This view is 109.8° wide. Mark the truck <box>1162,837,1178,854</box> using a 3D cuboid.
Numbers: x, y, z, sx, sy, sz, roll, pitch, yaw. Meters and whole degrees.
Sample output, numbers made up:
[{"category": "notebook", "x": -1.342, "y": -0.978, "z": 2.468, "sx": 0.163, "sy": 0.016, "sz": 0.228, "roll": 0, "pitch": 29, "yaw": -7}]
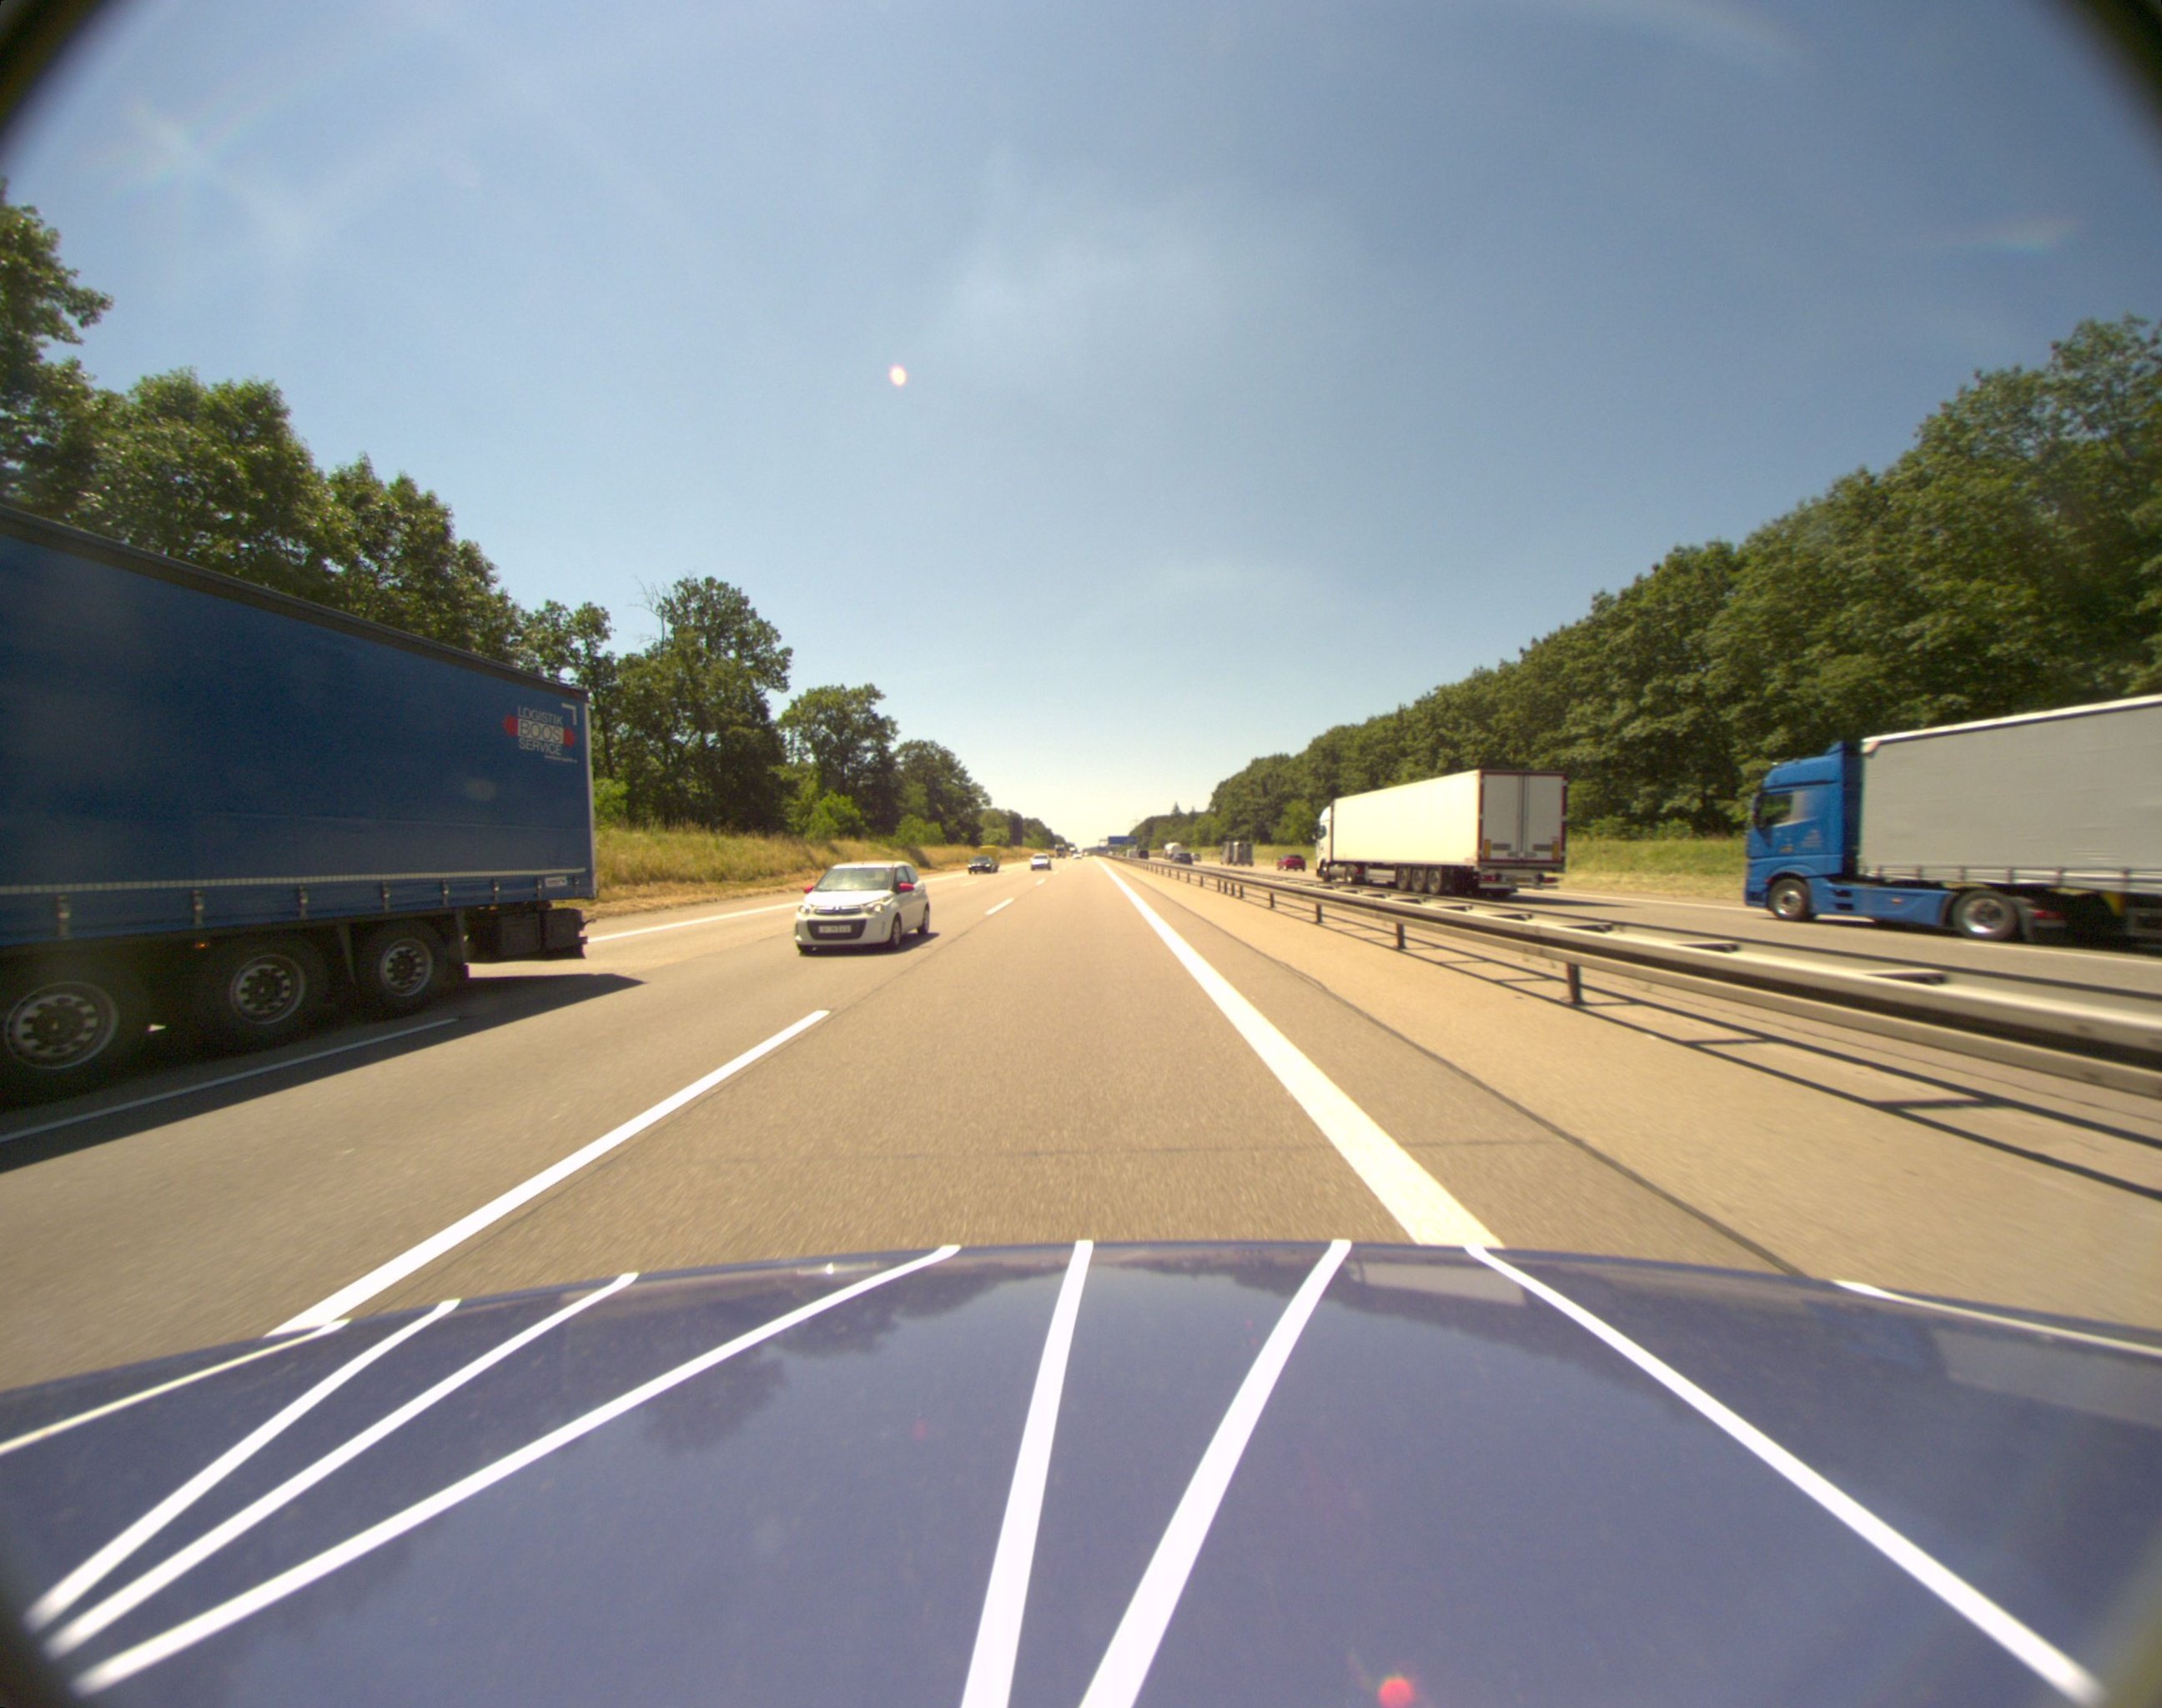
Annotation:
[{"category": "truck", "x": 19.203, "y": -1.808, "z": 163.666, "sx": 2.689, "sy": 3.414, "sz": 6.144, "roll": 1, "pitch": 1, "yaw": 1}]

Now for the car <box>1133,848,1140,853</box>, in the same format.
[{"category": "car", "x": 15.408, "y": -0.914, "z": 209.575, "sx": 1.637, "sy": 1.464, "sz": 3.936, "roll": 1, "pitch": 0, "yaw": 1}]

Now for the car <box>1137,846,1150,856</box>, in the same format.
[{"category": "car", "x": 11.128, "y": -0.561, "z": 135.430, "sx": 1.881, "sy": 1.837, "sz": 5.833, "roll": 1, "pitch": 1, "yaw": 1}]

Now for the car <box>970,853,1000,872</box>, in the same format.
[{"category": "car", "x": -7.953, "y": 0.644, "z": 63.110, "sx": 1.826, "sy": 1.447, "sz": 4.788, "roll": -2, "pitch": 0, "yaw": 0}]

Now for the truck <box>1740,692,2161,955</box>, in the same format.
[{"category": "truck", "x": 17.189, "y": -0.484, "z": 15.129, "sx": 2.675, "sy": 4.145, "sz": 6.188, "roll": 1, "pitch": 1, "yaw": 0}]

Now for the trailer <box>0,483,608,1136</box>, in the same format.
[{"category": "trailer", "x": -8.580, "y": -0.235, "z": 4.085, "sx": 3.294, "sy": 4.195, "sz": 13.563, "roll": -2, "pitch": 1, "yaw": 0}]

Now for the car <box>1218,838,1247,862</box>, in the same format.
[{"category": "car", "x": 18.329, "y": -0.474, "z": 92.089, "sx": 2.218, "sy": 2.841, "sz": 6.453, "roll": 1, "pitch": 1, "yaw": 0}]

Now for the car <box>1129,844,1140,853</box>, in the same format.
[{"category": "car", "x": 11.831, "y": -1.147, "z": 169.524, "sx": 2.001, "sy": 1.936, "sz": 5.741, "roll": 1, "pitch": 0, "yaw": 0}]

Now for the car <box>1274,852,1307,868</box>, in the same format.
[{"category": "car", "x": 17.775, "y": 0.505, "z": 64.561, "sx": 1.643, "sy": 1.268, "sz": 4.132, "roll": 1, "pitch": 0, "yaw": 0}]

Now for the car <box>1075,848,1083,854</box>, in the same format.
[{"category": "car", "x": -0.485, "y": -0.664, "z": 168.751, "sx": 1.796, "sy": 1.412, "sz": 3.999, "roll": -2, "pitch": 0, "yaw": 0}]

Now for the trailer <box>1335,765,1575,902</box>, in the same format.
[{"category": "trailer", "x": 13.107, "y": -0.644, "z": 28.761, "sx": 2.675, "sy": 3.967, "sz": 13.130, "roll": 1, "pitch": 0, "yaw": 1}]

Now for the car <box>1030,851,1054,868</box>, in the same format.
[{"category": "car", "x": -3.458, "y": 0.483, "z": 68.293, "sx": 1.749, "sy": 1.457, "sz": 3.980, "roll": -2, "pitch": 0, "yaw": 1}]

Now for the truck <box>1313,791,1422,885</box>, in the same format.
[{"category": "truck", "x": 13.192, "y": -0.706, "z": 35.632, "sx": 2.675, "sy": 3.967, "sz": 6.340, "roll": 1, "pitch": 1, "yaw": 0}]

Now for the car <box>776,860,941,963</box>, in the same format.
[{"category": "car", "x": -3.830, "y": 0.911, "z": 13.821, "sx": 1.712, "sy": 1.486, "sz": 4.024, "roll": -2, "pitch": 0, "yaw": 1}]

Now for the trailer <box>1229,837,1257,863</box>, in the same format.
[{"category": "trailer", "x": 18.376, "y": -0.457, "z": 86.546, "sx": 2.218, "sy": 2.841, "sz": 4.584, "roll": 1, "pitch": 1, "yaw": 0}]

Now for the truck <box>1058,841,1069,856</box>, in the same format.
[{"category": "truck", "x": -4.809, "y": -1.491, "z": 211.721, "sx": 2.605, "sy": 3.811, "sz": 5.969, "roll": -2, "pitch": 0, "yaw": 1}]

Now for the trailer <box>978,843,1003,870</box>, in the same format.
[{"category": "trailer", "x": -8.005, "y": 0.194, "z": 67.427, "sx": 1.707, "sy": 2.276, "sz": 3.839, "roll": -2, "pitch": 1, "yaw": 0}]

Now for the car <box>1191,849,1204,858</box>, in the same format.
[{"category": "car", "x": 20.038, "y": -0.123, "z": 131.087, "sx": 1.573, "sy": 1.456, "sz": 4.035, "roll": 1, "pitch": 0, "yaw": 0}]

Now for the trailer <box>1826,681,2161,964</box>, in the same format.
[{"category": "trailer", "x": 17.179, "y": -0.426, "z": 8.820, "sx": 2.675, "sy": 4.145, "sz": 14.595, "roll": 1, "pitch": 0, "yaw": 0}]

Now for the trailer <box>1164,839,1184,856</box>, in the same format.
[{"category": "trailer", "x": 19.112, "y": -1.348, "z": 157.050, "sx": 2.689, "sy": 3.414, "sz": 11.799, "roll": 1, "pitch": 0, "yaw": 1}]

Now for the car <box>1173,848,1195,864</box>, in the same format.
[{"category": "car", "x": 10.209, "y": 0.183, "z": 75.660, "sx": 1.621, "sy": 1.474, "sz": 4.624, "roll": 1, "pitch": 0, "yaw": 0}]
